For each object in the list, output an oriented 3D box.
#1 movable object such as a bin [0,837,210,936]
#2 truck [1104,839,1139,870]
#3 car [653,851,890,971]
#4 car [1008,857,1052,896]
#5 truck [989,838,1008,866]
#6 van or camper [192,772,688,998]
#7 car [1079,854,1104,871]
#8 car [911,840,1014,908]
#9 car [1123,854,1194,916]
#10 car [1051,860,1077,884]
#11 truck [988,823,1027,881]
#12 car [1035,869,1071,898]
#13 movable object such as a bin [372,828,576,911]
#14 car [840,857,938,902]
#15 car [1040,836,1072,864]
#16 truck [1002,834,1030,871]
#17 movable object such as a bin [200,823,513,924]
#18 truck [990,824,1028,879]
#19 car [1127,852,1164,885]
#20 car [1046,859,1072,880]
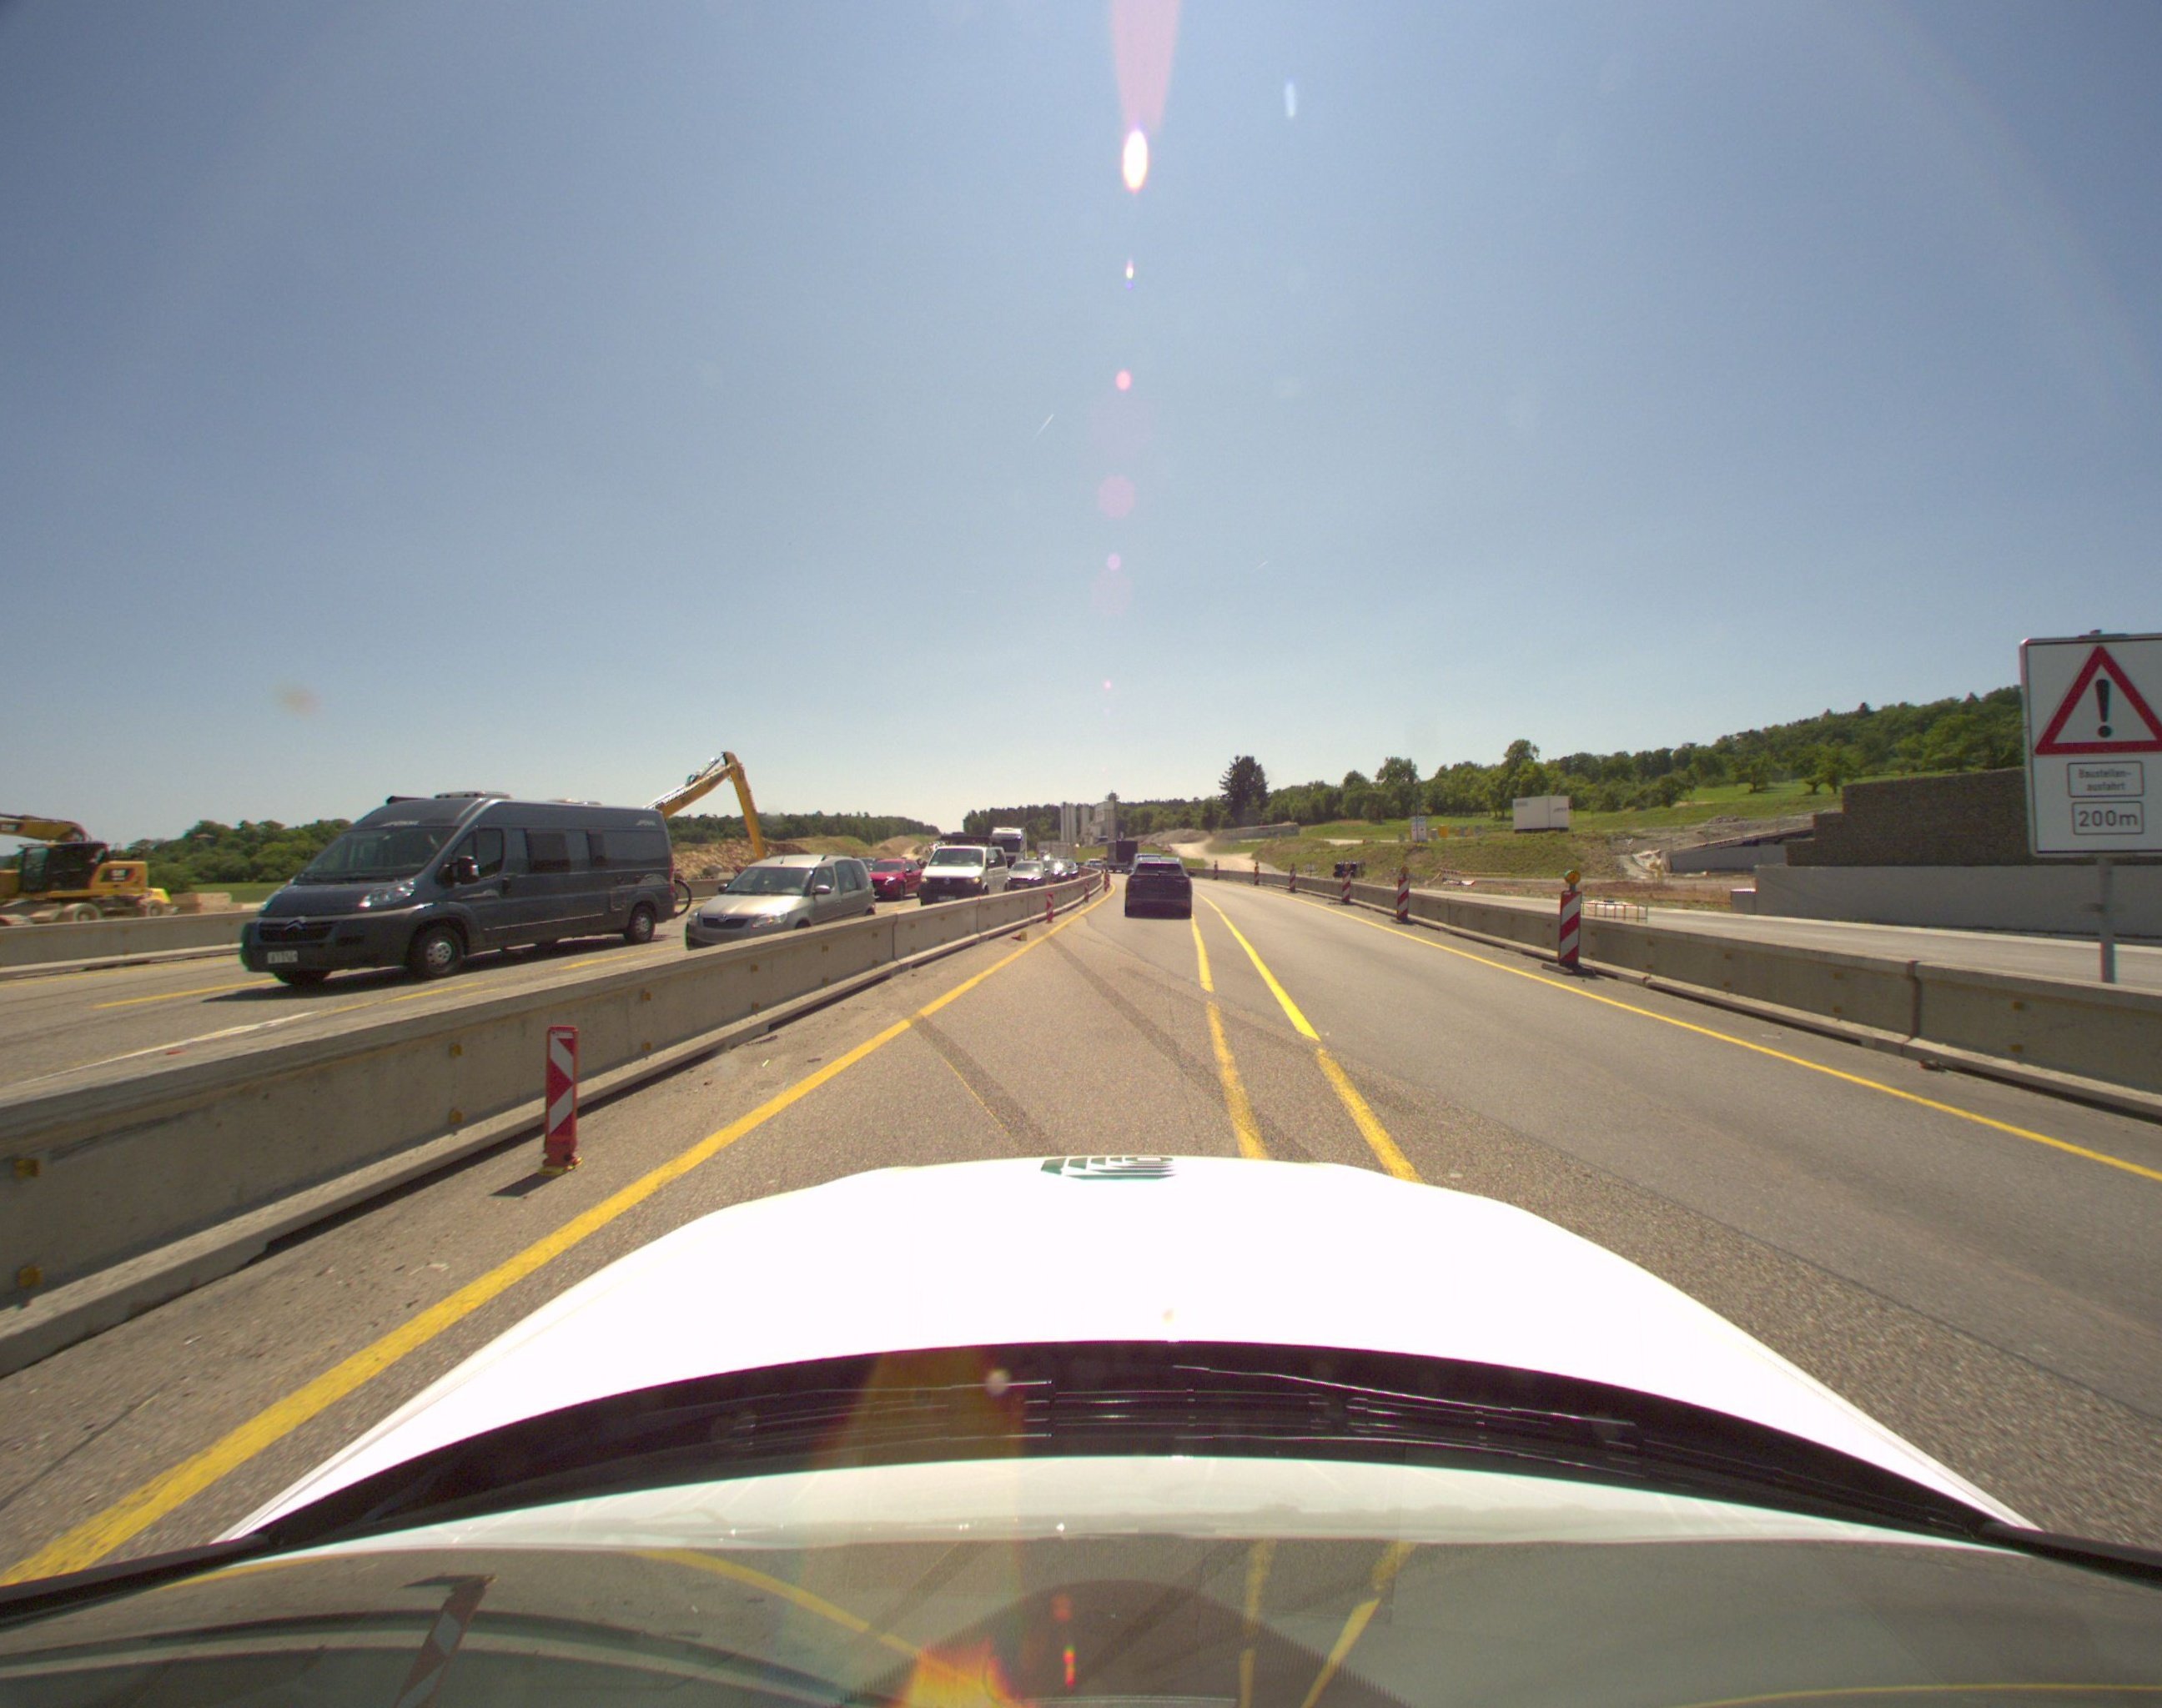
[{"bbox_3d":[-36.247,1.042,29.398,3.790,3.256,5.544,1,0,-7],"label":"movable object such as a bin"},{"bbox_3d":[4.178,0.041,84.455,2.670,2.945,5.608,-2,0,-6],"label":"truck"},{"bbox_3d":[-4.786,0.773,13.348,1.746,1.616,4.239,0,0,9],"label":"car"},{"bbox_3d":[-2.263,0.978,36.833,1.503,1.604,3.956,1,0,3],"label":"car"},{"bbox_3d":[-12.704,-0.328,125.195,2.770,4.137,10.846,-1,0,-6],"label":"truck"},{"bbox_3d":[-8.961,0.353,12.557,2.088,2.541,6.316,-2,0,6],"label":"van or camper"},{"bbox_3d":[1.024,0.829,81.636,2.042,1.526,5.058,-2,1,-5],"label":"car"},{"bbox_3d":[-3.520,0.548,25.215,1.862,1.873,5.068,0,0,7],"label":"car"},{"bbox_3d":[2.170,0.806,23.233,1.834,1.582,4.005,1,0,4],"label":"car"},{"bbox_3d":[-1.104,1.129,53.253,1.651,1.453,4.247,0,0,-1],"label":"car"},{"bbox_3d":[-5.721,-0.170,64.335,2.765,4.259,6.191,-1,0,-3],"label":"truck"},{"bbox_3d":[-1.501,1.600,45.011,1.719,1.408,4.131,0,0,1],"label":"car"},{"bbox_3d":[-22.305,0.500,30.052,6.006,2.763,2.823,1,0,14],"label":"movable object such as a bin"},{"bbox_3d":[-7.045,0.883,30.436,1.982,1.501,4.664,1,0,8],"label":"car"},{"bbox_3d":[-4.027,-0.628,129.613,3.438,4.101,9.162,2,0,-11],"label":"car"},{"bbox_3d":[-7.392,-0.201,91.977,2.699,3.969,6.180,-1,0,-9],"label":"truck"},{"bbox_3d":[-20.777,0.439,23.383,7.833,2.432,3.739,1,0,24],"label":"movable object such as a bin"},{"bbox_3d":[-6.027,-0.202,69.805,2.768,4.277,11.765,-1,0,-3],"label":"truck"},{"bbox_3d":[3.835,0.823,48.897,1.986,1.844,4.002,-1,0,2],"label":"car"},{"bbox_3d":[-1.679,1.113,60.183,1.675,1.444,4.546,0,0,-5],"label":"car"}]
